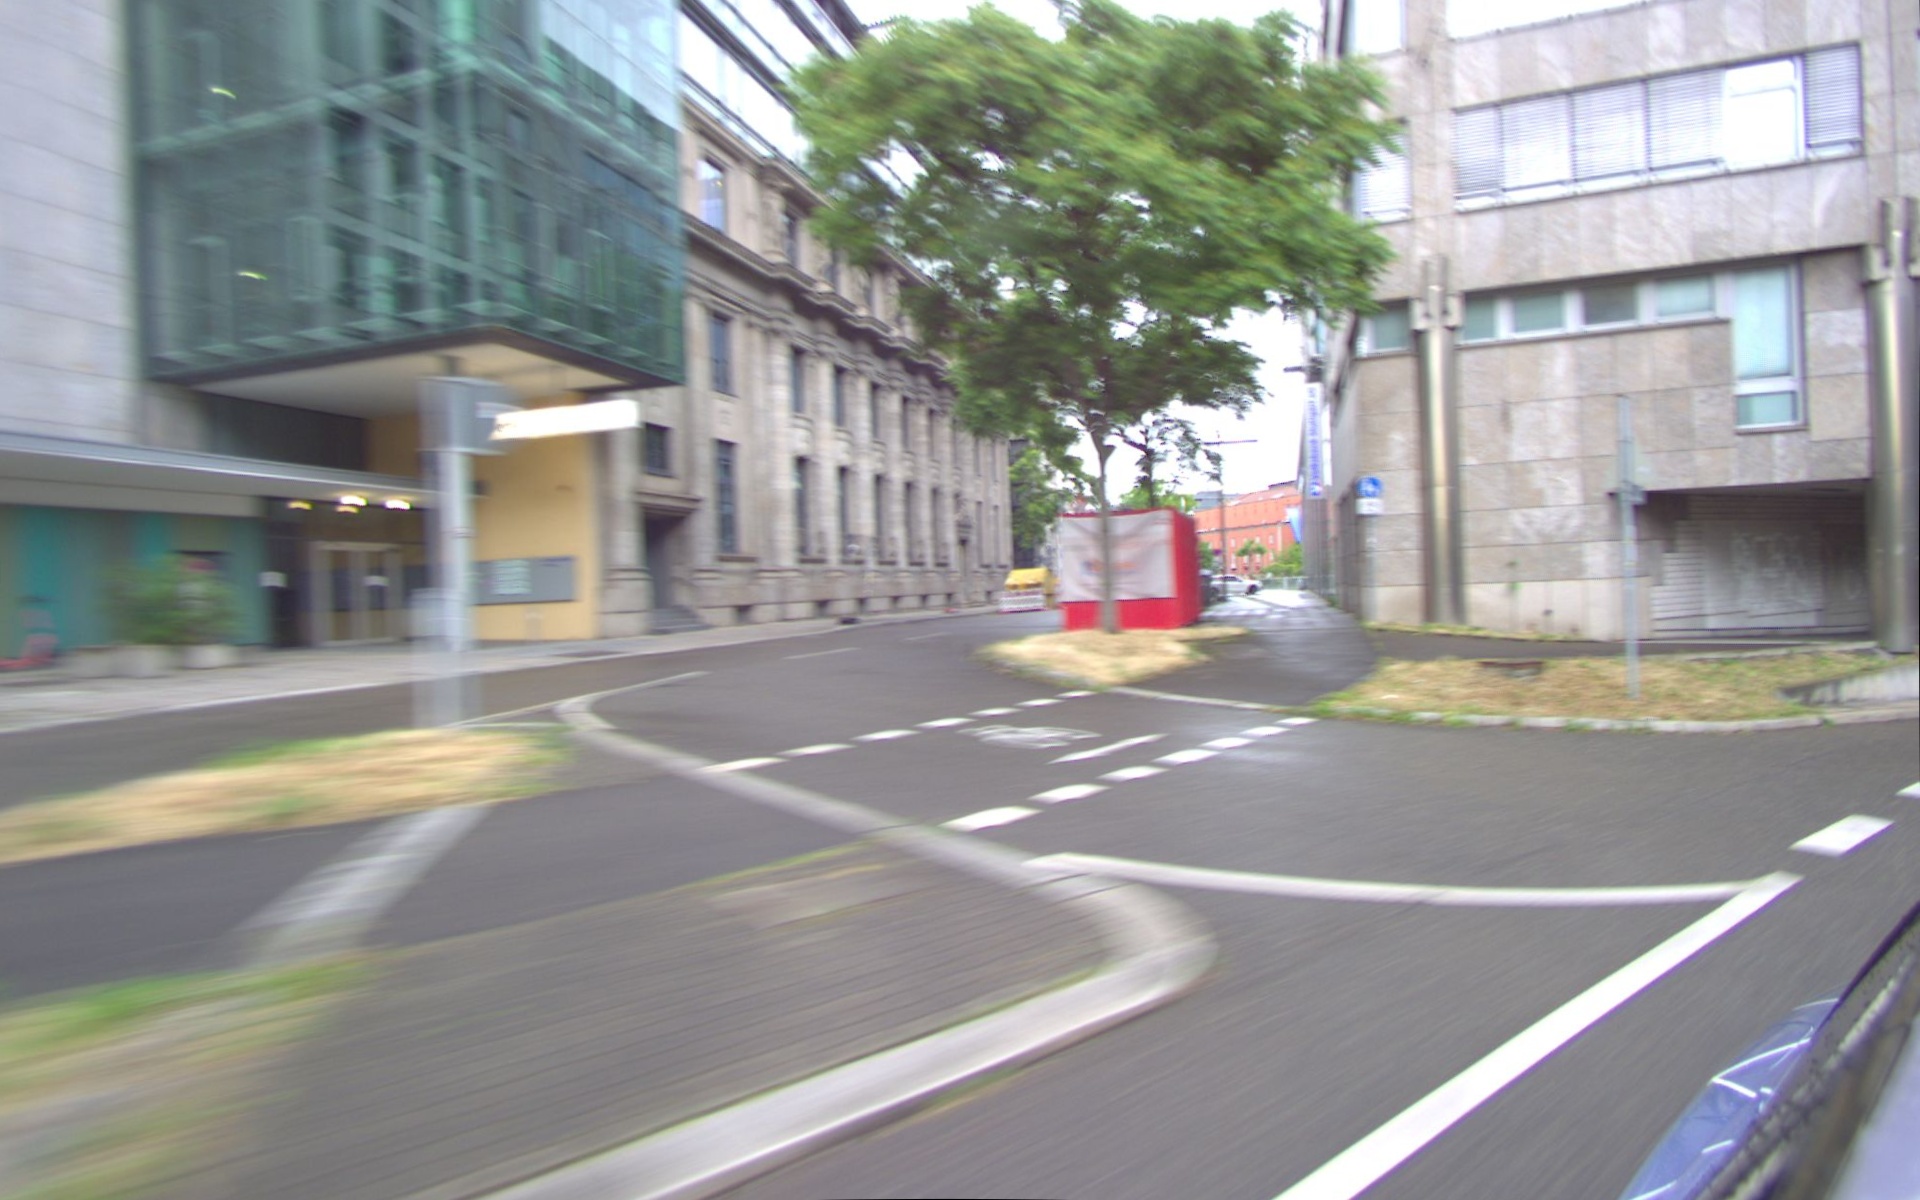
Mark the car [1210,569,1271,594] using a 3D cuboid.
[{"bbox_3d":[19.074,-1.246,69.006,3.704,1.671,1.797,0,1,5],"label":"car"}]
